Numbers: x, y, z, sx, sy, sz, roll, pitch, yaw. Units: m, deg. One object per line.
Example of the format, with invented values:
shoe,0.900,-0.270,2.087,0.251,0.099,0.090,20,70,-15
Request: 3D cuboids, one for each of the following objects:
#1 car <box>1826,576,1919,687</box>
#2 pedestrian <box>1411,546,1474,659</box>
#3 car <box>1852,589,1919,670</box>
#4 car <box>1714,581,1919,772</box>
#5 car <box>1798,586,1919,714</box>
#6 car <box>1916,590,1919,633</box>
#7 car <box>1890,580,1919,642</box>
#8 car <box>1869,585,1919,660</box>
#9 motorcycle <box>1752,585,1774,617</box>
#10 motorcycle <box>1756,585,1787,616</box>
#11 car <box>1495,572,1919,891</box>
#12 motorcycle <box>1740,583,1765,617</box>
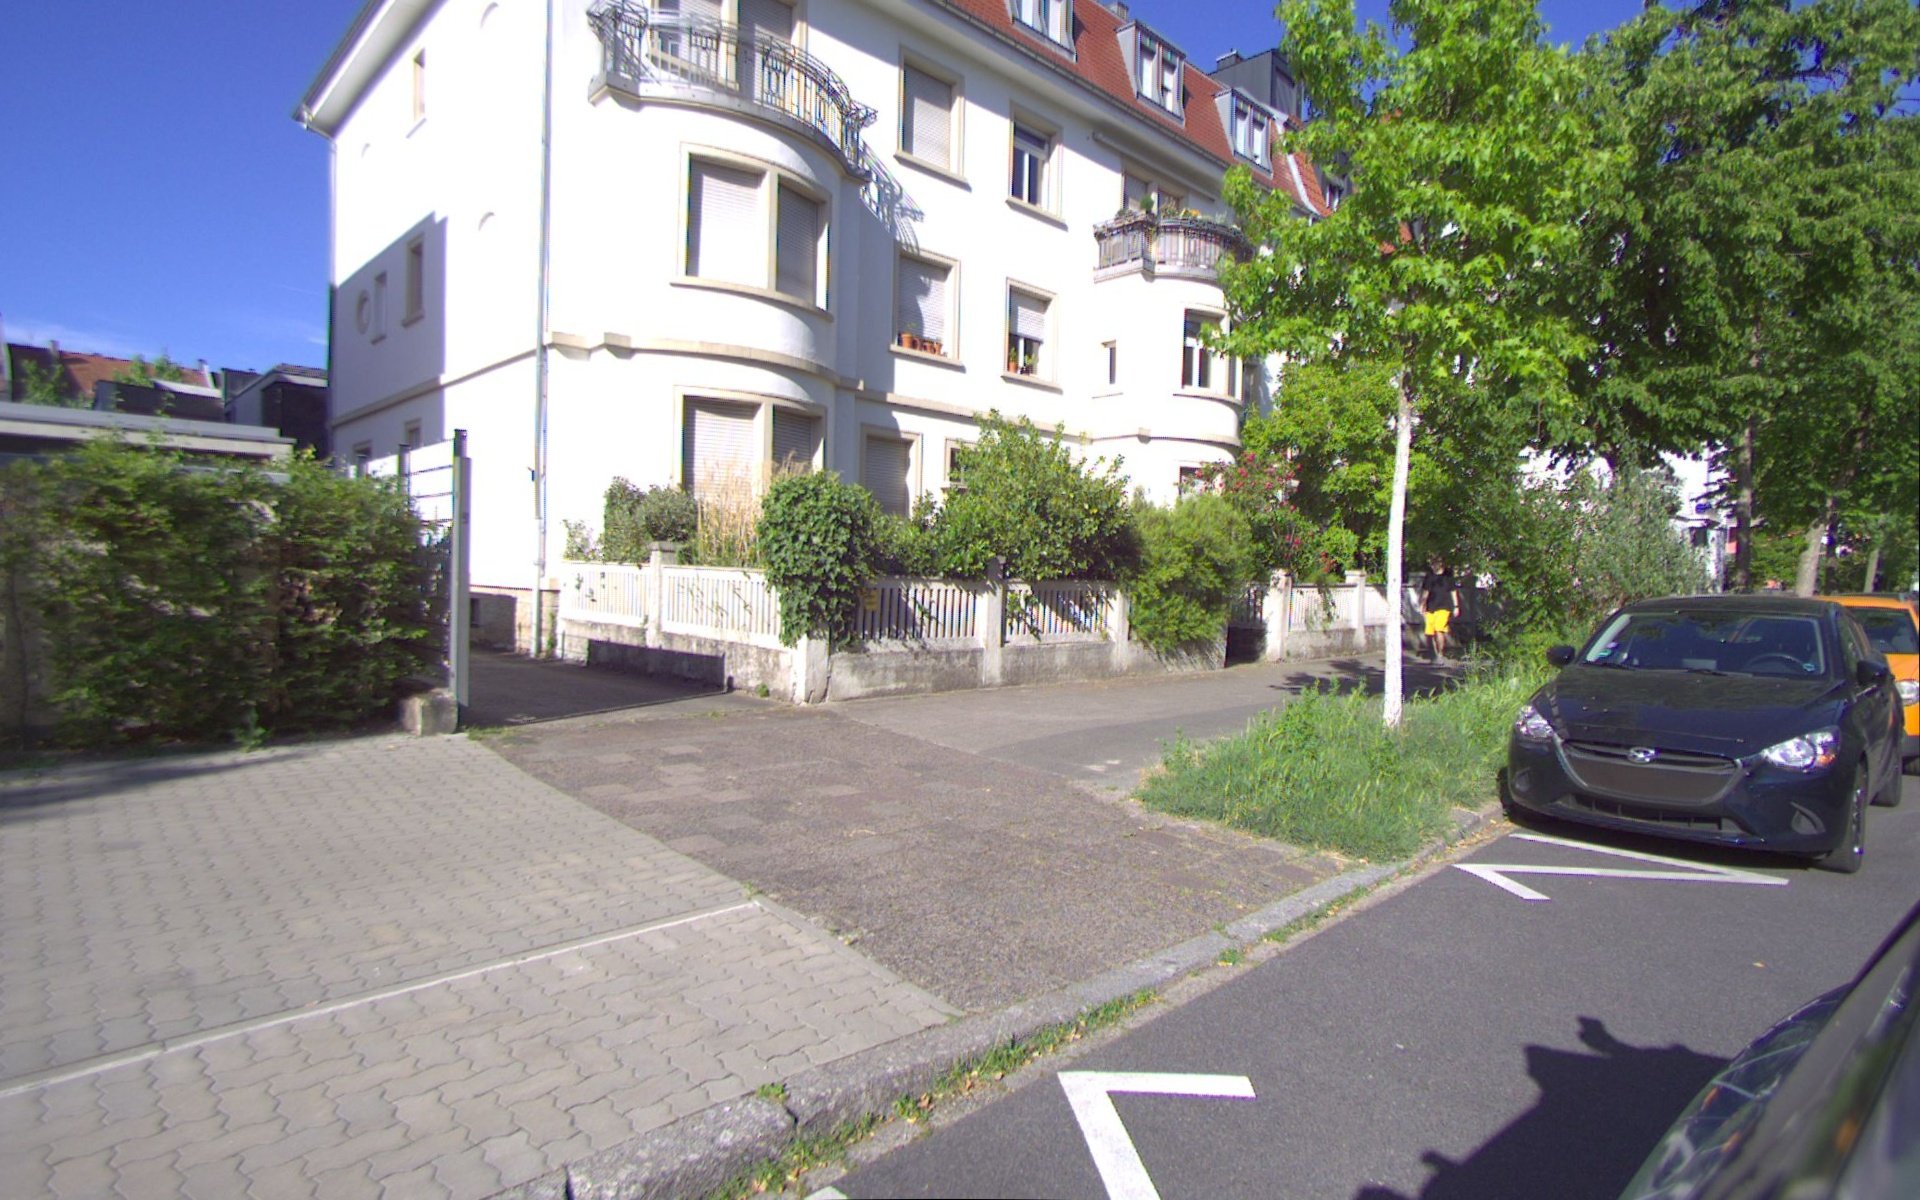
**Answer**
car,15.665,0.466,16.914,1.648,1.676,3.787,2,2,43
pedestrian,7.902,0.025,16.565,0.786,1.796,0.623,0,3,-44
car,18.997,0.546,20.036,4.296,1.442,1.632,0,3,-44
car,8.671,0.594,9.734,4.032,1.472,1.638,0,2,-44
car,12.221,0.578,13.226,1.650,1.446,3.555,4,3,44
car,33.742,0.393,34.440,1.611,1.427,4.285,3,2,42
car,28.652,0.313,29.661,4.227,1.719,1.782,0,2,-45
car,22.155,0.477,23.275,1.684,1.608,4.463,0,0,44
motorcycle,34.500,0.030,43.492,0.655,1.295,1.775,5,3,39
motorcycle,35.873,0.008,44.716,0.970,1.345,1.826,2,2,41
car,5.255,0.603,6.816,4.014,1.467,1.702,0,3,-44
motorcycle,32.815,-0.006,41.895,2.055,1.378,0.539,0,2,-44
